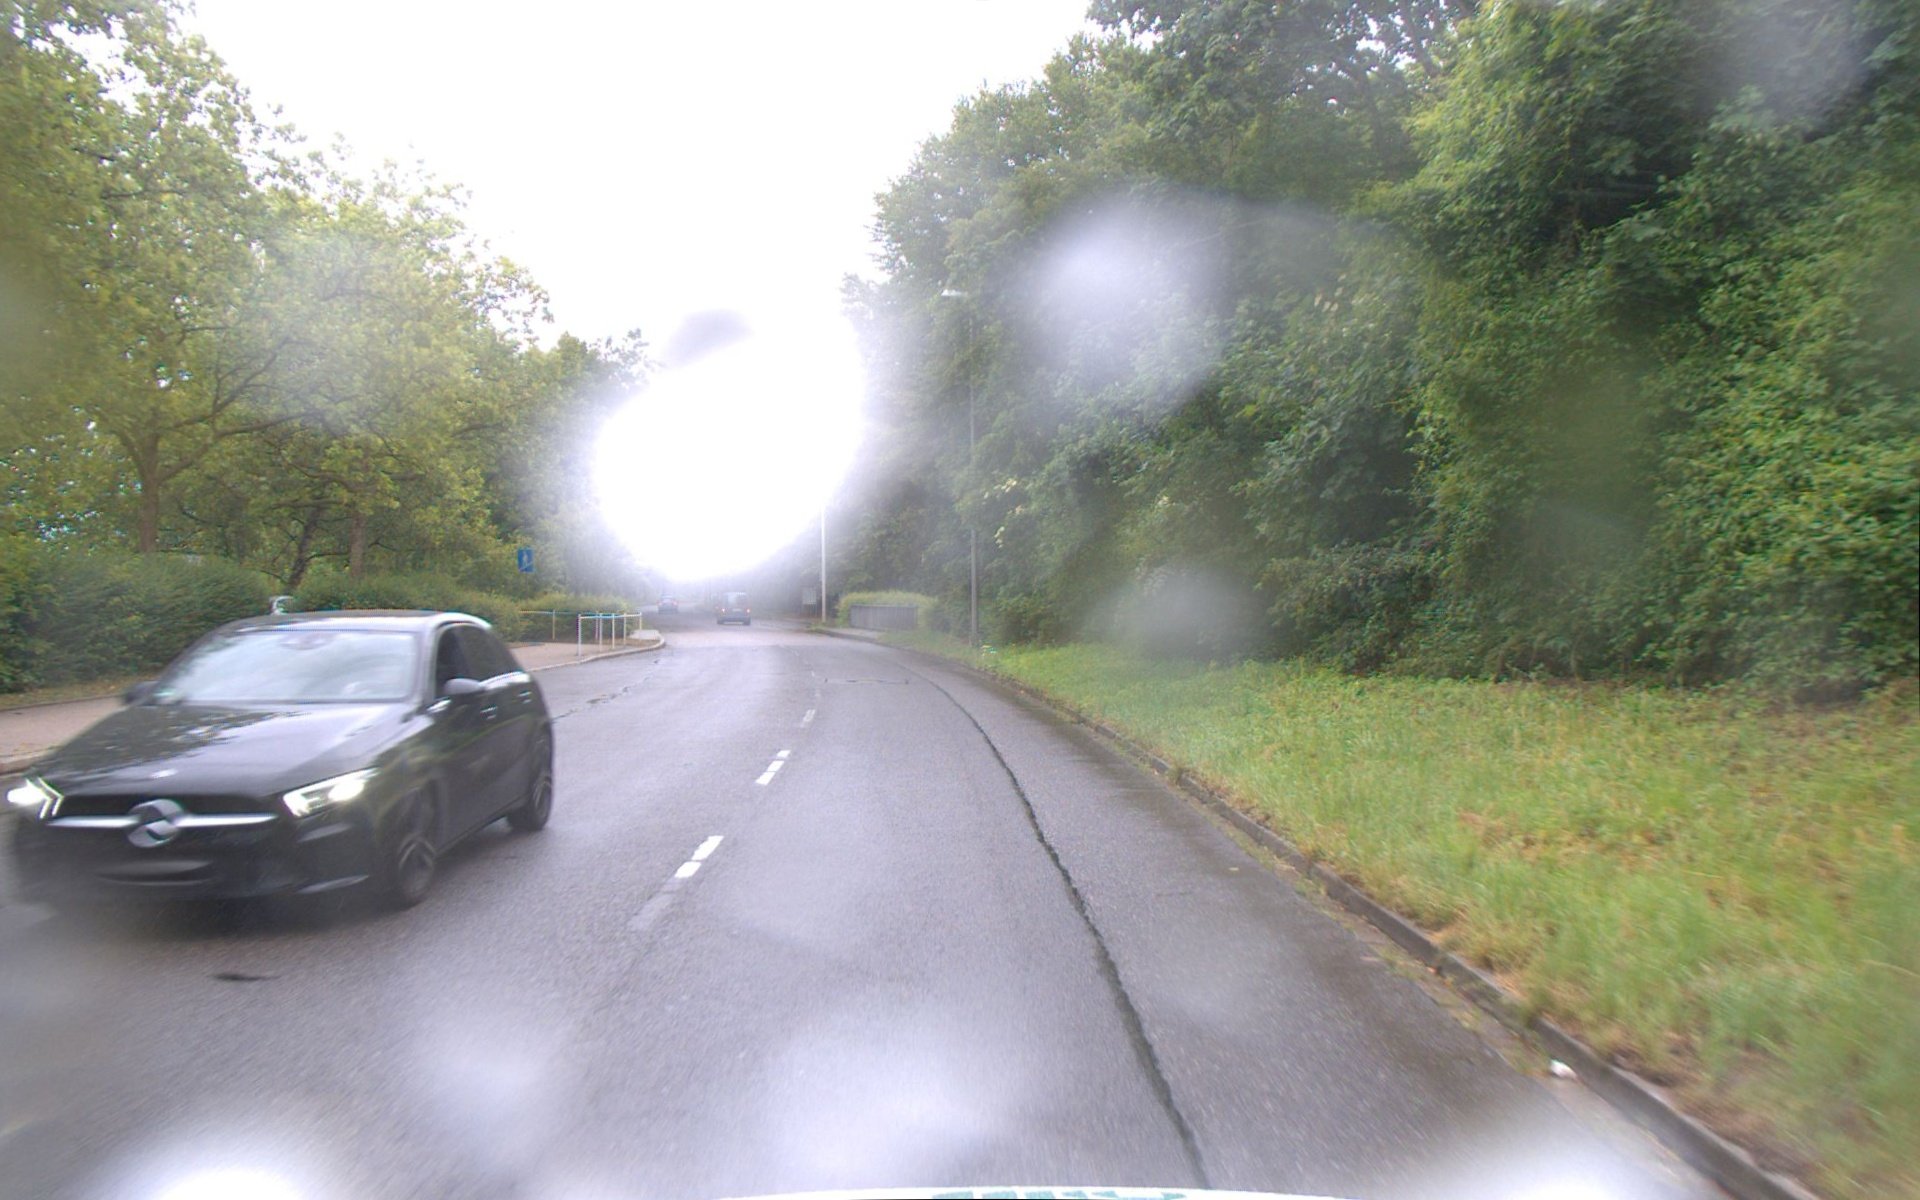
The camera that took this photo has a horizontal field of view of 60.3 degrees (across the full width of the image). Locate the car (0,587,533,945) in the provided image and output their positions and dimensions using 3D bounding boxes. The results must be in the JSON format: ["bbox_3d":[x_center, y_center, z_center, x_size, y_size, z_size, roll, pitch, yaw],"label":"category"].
[{"bbox_3d":[-3.636,0.726,9.123,1.791,1.490,3.996,-1,0,-5],"label":"car"}]

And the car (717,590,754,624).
[{"bbox_3d":[-13.076,0.390,96.231,1.949,1.959,3.990,0,0,-10],"label":"car"}]

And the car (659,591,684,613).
[{"bbox_3d":[-24.994,0.171,143.255,1.959,1.848,3.988,1,-1,-12],"label":"car"}]

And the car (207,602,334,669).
[{"bbox_3d":[-17.718,0.886,42.709,1.759,1.536,3.997,-3,0,-4],"label":"car"}]
